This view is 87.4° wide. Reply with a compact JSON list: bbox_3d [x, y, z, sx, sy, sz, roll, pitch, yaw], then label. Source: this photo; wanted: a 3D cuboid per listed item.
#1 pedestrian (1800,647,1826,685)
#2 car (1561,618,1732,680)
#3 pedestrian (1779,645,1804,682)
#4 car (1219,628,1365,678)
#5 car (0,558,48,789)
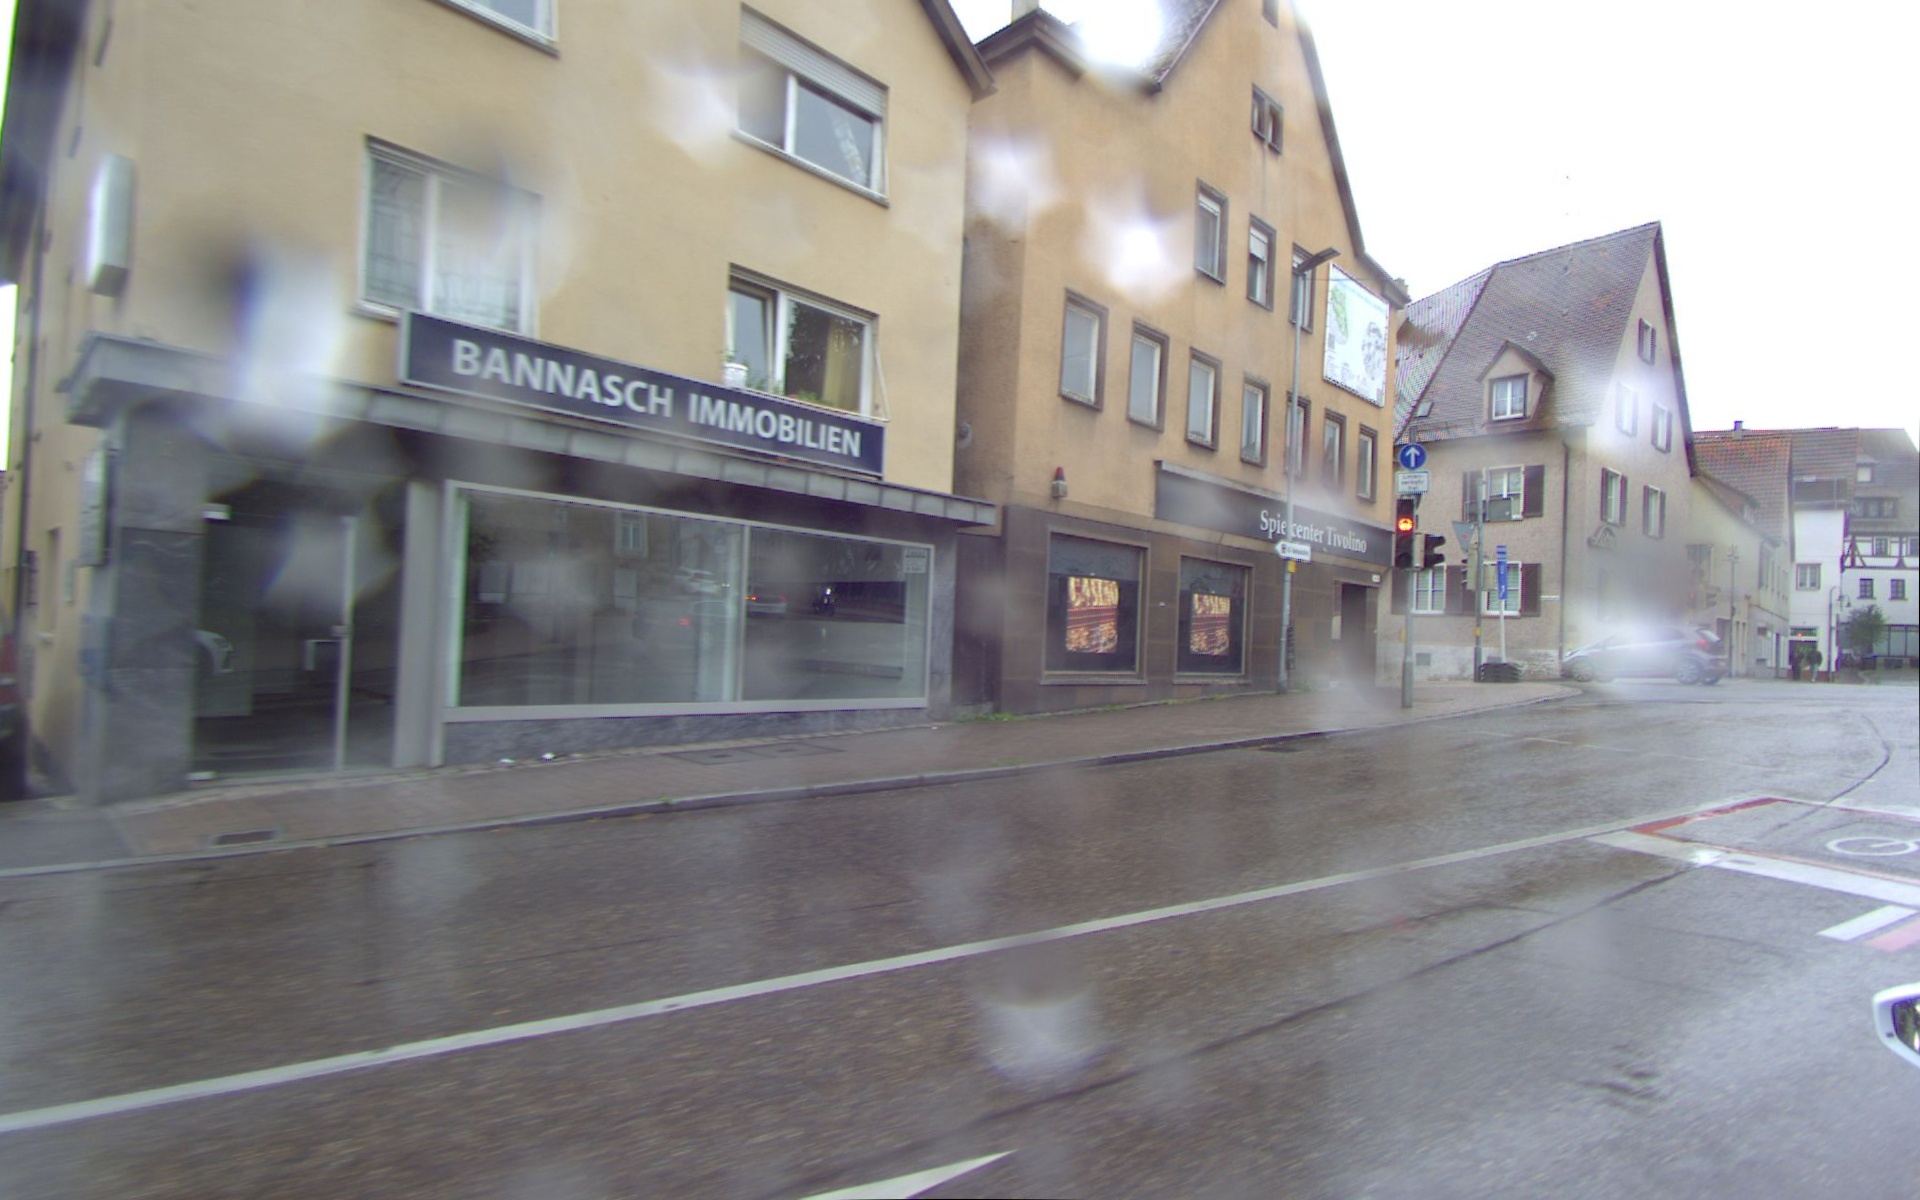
[{"bbox_3d":[40.227,3.113,47.373,0.626,1.754,0.772,1,-3,-40],"label":"pedestrian"},{"bbox_3d":[17.758,1.255,26.097,1.522,1.496,3.353,0,-3,-39],"label":"car"},{"bbox_3d":[39.711,3.035,47.993,0.626,1.754,0.772,1,-3,-40],"label":"pedestrian"},{"bbox_3d":[11.509,1.825,35.153,1.811,1.609,4.705,0,-2,-34],"label":"car"},{"bbox_3d":[-9.930,0.823,9.187,4.868,1.848,1.952,-8,-6,43],"label":"car"}]
